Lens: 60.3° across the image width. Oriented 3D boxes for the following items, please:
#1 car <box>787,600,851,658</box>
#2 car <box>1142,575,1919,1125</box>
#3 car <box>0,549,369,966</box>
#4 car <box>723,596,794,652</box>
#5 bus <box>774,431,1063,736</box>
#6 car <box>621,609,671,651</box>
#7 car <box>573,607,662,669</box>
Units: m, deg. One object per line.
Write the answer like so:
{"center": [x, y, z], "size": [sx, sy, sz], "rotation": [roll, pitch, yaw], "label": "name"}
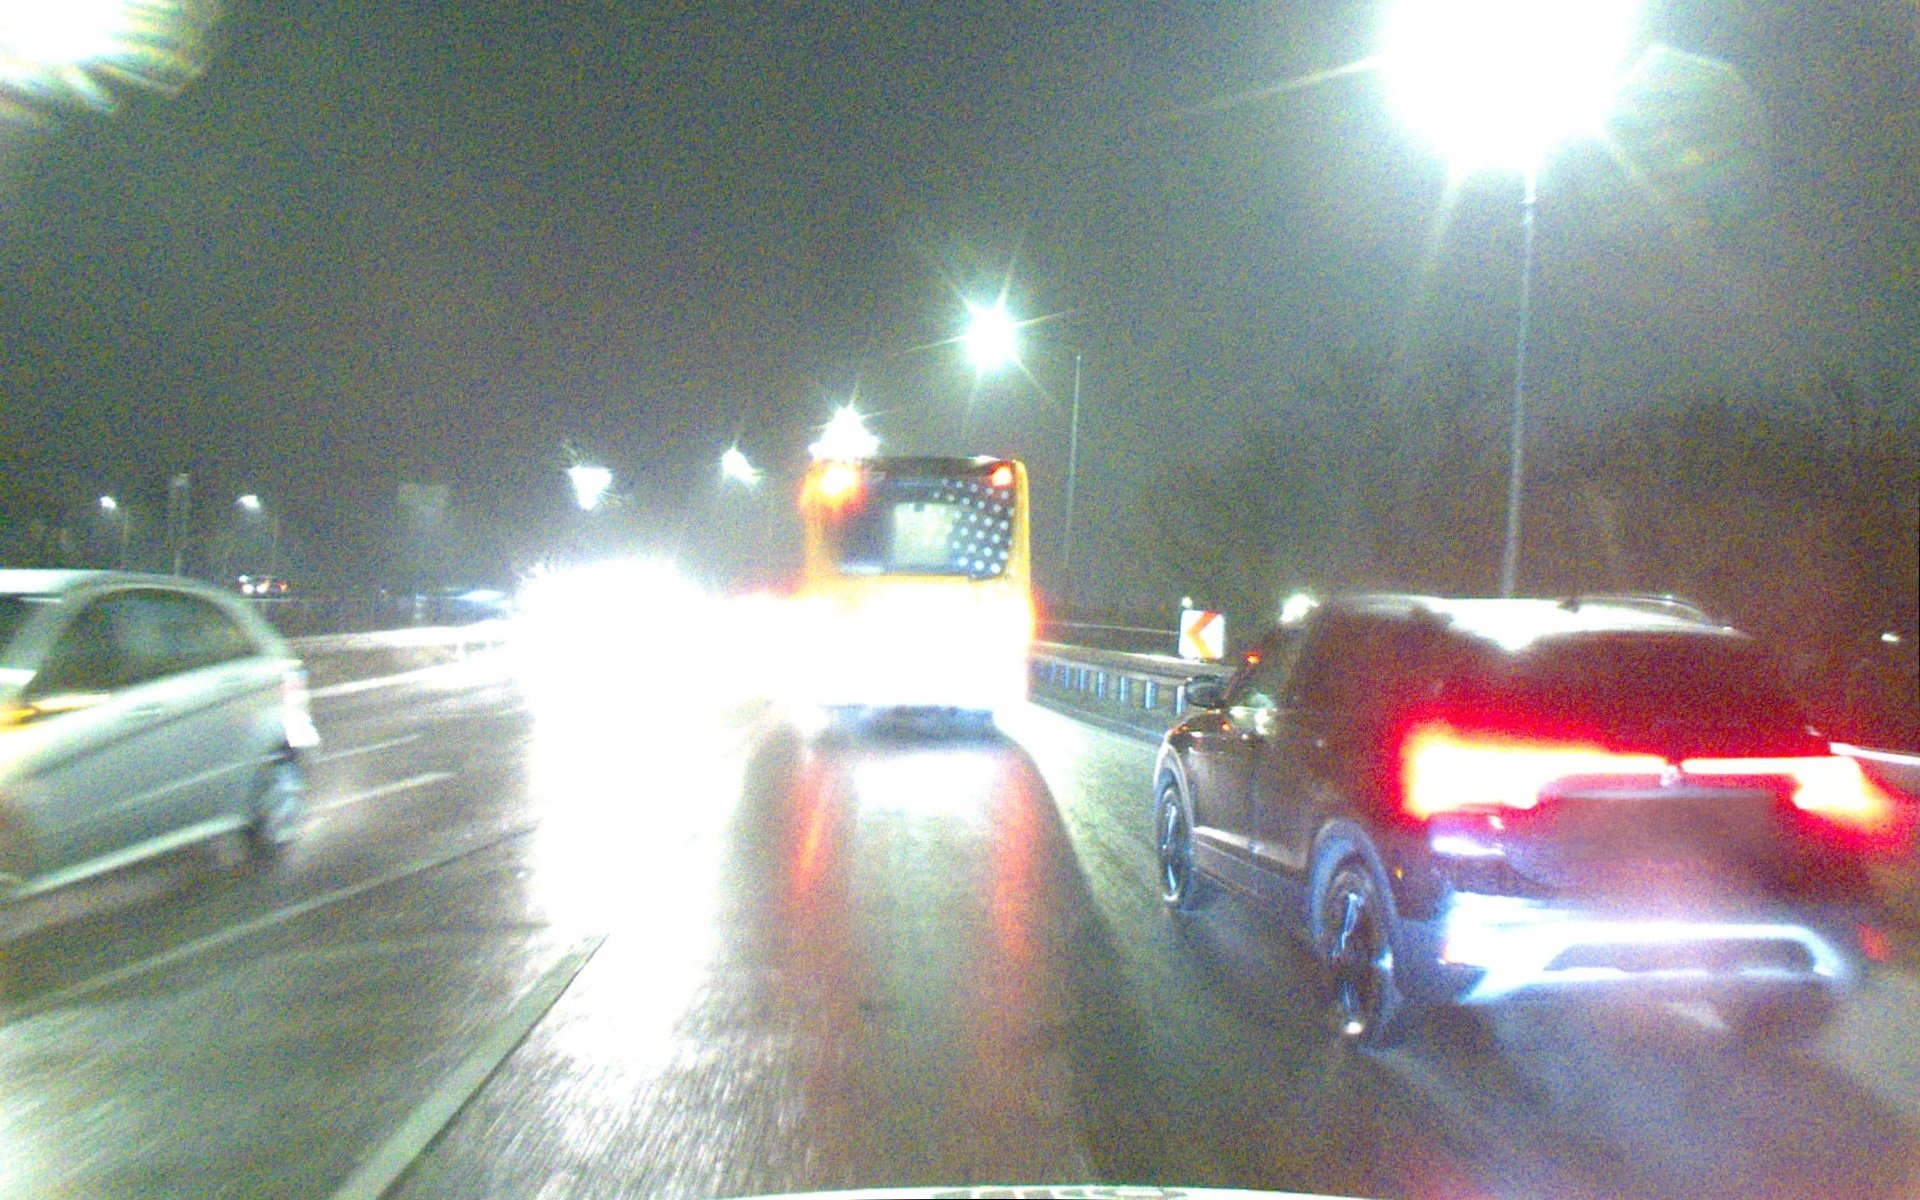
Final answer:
{"center": [-4.378, 0.857, 50.906], "size": [1.606, 1.684, 3.700], "rotation": [1, 0, -10], "label": "car"}
{"center": [2.069, 0.744, 6.946], "size": [1.820, 1.614, 3.995], "rotation": [0, 0, -6], "label": "car"}
{"center": [-4.814, 0.616, 8.045], "size": [1.957, 1.704, 4.619], "rotation": [2, 0, 3], "label": "car"}
{"center": [-8.254, 0.999, 67.436], "size": [1.963, 2.049, 3.978], "rotation": [6, -3, -18], "label": "car"}
{"center": [-1.107, -0.217, 23.839], "size": [3.024, 3.187, 12.680], "rotation": [1, 0, -6], "label": "bus"}
{"center": [-11.424, 1.077, 60.349], "size": [1.734, 1.452, 4.209], "rotation": [0, 0, -10], "label": "car"}
{"center": [-9.131, 0.976, 44.354], "size": [1.731, 1.544, 3.946], "rotation": [1, 0, -3], "label": "car"}
